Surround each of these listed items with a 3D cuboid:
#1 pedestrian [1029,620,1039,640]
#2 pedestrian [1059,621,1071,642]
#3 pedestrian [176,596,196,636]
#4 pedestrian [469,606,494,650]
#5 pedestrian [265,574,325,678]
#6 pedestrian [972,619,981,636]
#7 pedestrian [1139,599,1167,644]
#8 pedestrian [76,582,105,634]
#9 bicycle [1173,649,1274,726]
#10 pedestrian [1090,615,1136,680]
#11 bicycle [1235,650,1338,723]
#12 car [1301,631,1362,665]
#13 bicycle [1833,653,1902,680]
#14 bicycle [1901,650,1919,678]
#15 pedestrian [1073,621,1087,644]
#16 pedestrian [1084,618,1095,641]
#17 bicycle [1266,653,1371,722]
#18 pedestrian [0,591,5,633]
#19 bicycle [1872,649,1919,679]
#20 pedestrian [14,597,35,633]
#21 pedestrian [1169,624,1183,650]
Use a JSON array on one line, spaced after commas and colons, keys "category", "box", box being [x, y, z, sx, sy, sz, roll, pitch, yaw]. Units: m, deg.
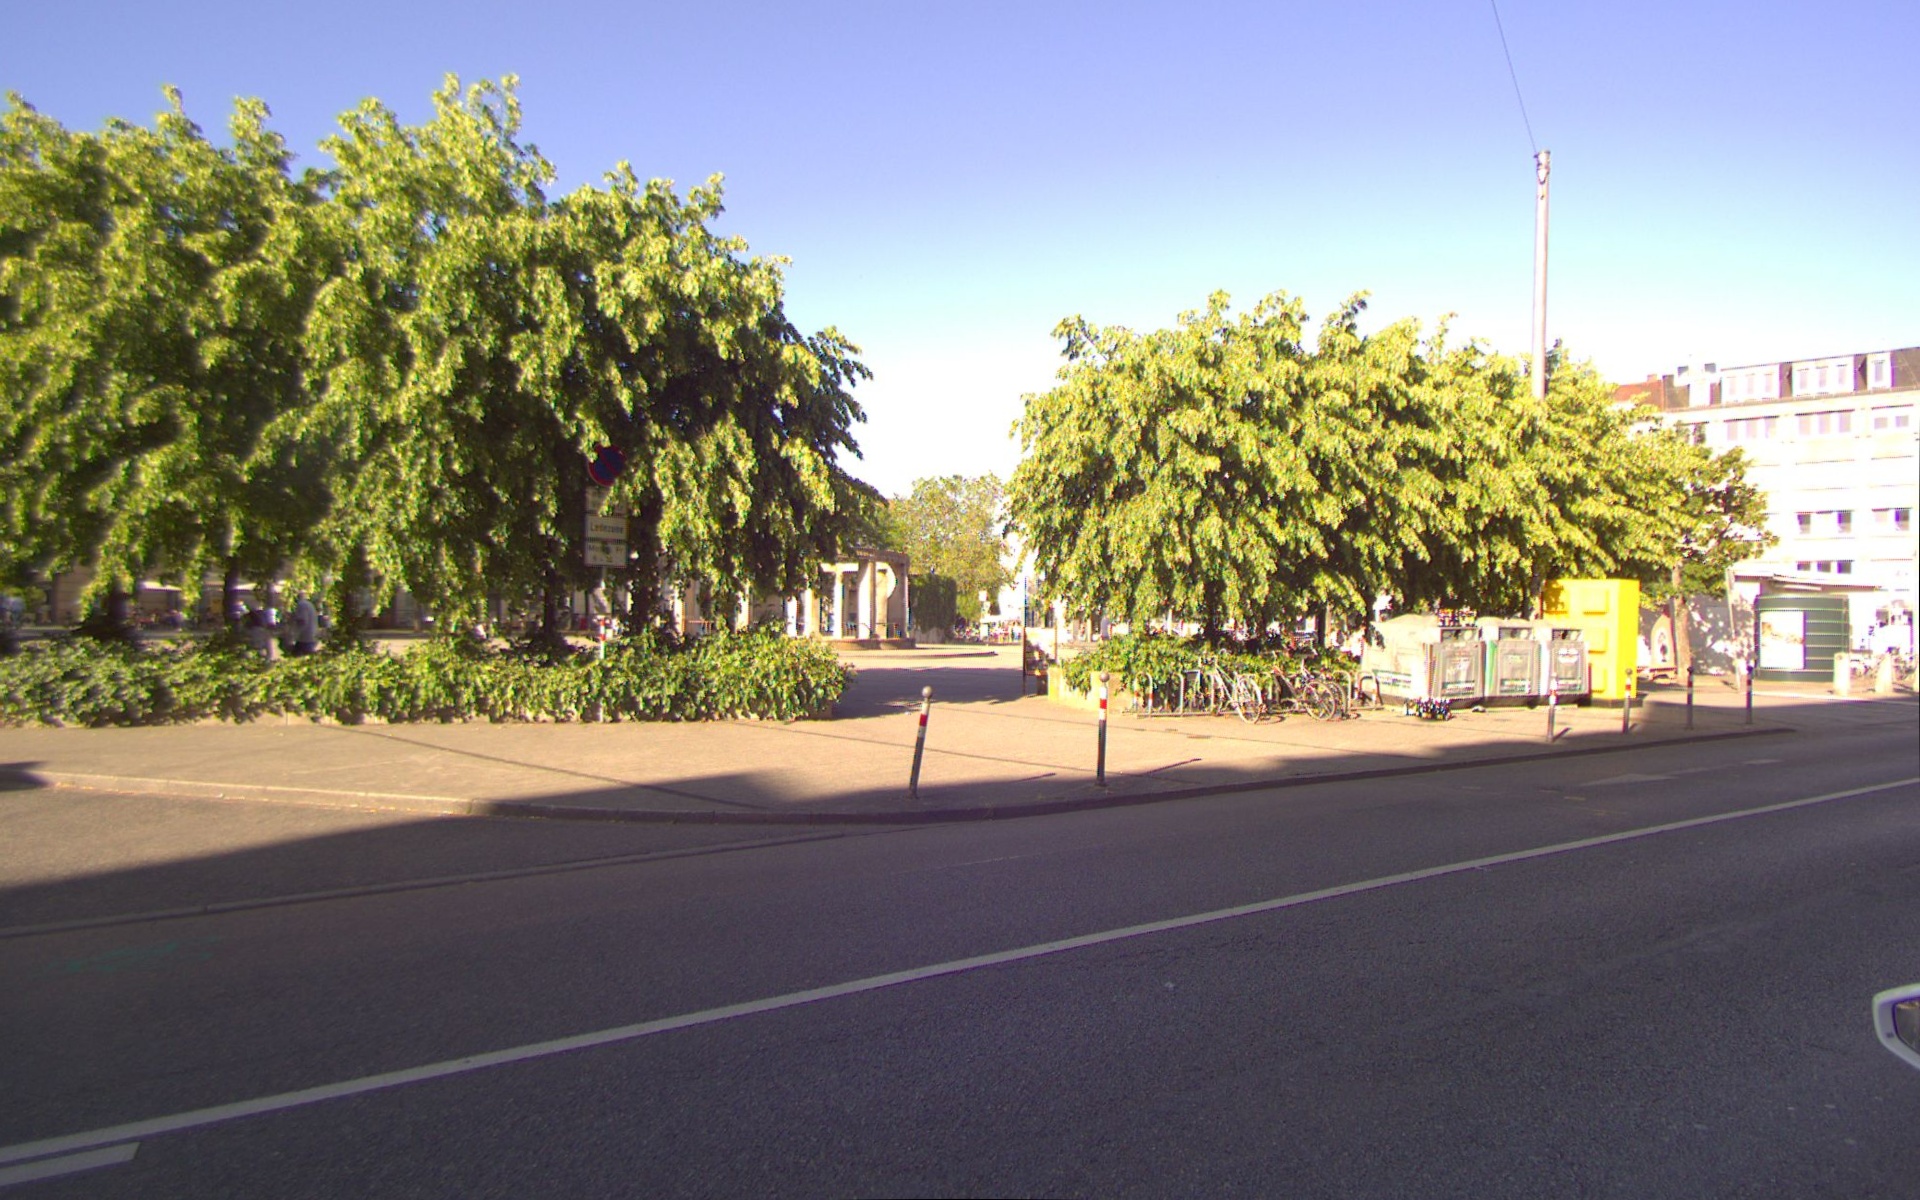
[{"category": "pedestrian", "box": [7.942, 3.213, 107.816, 0.861, 2.040, 0.901, 2, 0, -9]}, {"category": "pedestrian", "box": [10.089, 3.032, 96.518, 0.860, 2.040, 0.902, 2, 0, -5]}, {"category": "pedestrian", "box": [-38.877, 0.785, 50.456, 0.669, 1.974, 0.634, 2, 0, -33]}, {"category": "pedestrian", "box": [-19.134, 1.114, 40.152, 0.599, 1.744, 0.644, 2, 0, 37]}, {"category": "pedestrian", "box": [-10.964, 0.422, 16.589, 0.615, 1.671, 0.654, 2, 0, -16]}, {"category": "pedestrian", "box": [1.996, 3.409, 123.031, 0.875, 2.040, 0.896, 1, 0, -17]}, {"category": "pedestrian", "box": [8.751, 0.975, 45.579, 0.875, 2.040, 0.896, 1, 0, -17]}, {"category": "pedestrian", "box": [-29.693, 0.264, 34.292, 0.599, 1.744, 0.644, 2, 0, 41]}, {"category": "bicycle", "box": [4.064, 1.324, 15.647, 0.508, 1.029, 1.930, 2, 0, -19]}, {"category": "pedestrian", "box": [4.921, 1.514, 32.342, 0.967, 2.040, 1.042, 2, 0, -42]}, {"category": "bicycle", "box": [5.253, 1.365, 16.286, 0.508, 1.016, 1.923, 2, 0, -20]}, {"category": "car", "box": [16.856, 2.156, 45.726, 1.658, 1.405, 3.575, 1, -1, 5]}, {"category": "bicycle", "box": [30.815, 2.246, 34.119, 0.600, 0.802, 1.634, 2, 0, -33]}, {"category": "bicycle", "box": [35.051, 2.333, 36.000, 0.599, 0.946, 1.854, 2, 0, -30]}, {"category": "pedestrian", "box": [11.287, 3.058, 94.471, 0.887, 2.040, 0.875, 2, 0, 33]}, {"category": "pedestrian", "box": [12.846, 2.922, 99.455, 0.860, 2.199, 0.902, 2, 0, -5]}, {"category": "bicycle", "box": [5.820, 1.400, 16.408, 0.508, 0.968, 1.898, 2, 0, -20]}, {"category": "pedestrian", "box": [-39.657, 0.485, 41.213, 0.600, 1.744, 0.643, 2, 0, 45]}, {"category": "bicycle", "box": [33.189, 2.241, 35.104, 0.599, 0.946, 1.855, 1, 0, -30]}, {"category": "pedestrian", "box": [-45.917, 0.730, 49.297, 0.599, 1.744, 0.644, 2, 0, 39]}, {"category": "pedestrian", "box": [14.218, 2.431, 66.168, 0.741, 1.740, 0.854, 1, -1, 4]}]
